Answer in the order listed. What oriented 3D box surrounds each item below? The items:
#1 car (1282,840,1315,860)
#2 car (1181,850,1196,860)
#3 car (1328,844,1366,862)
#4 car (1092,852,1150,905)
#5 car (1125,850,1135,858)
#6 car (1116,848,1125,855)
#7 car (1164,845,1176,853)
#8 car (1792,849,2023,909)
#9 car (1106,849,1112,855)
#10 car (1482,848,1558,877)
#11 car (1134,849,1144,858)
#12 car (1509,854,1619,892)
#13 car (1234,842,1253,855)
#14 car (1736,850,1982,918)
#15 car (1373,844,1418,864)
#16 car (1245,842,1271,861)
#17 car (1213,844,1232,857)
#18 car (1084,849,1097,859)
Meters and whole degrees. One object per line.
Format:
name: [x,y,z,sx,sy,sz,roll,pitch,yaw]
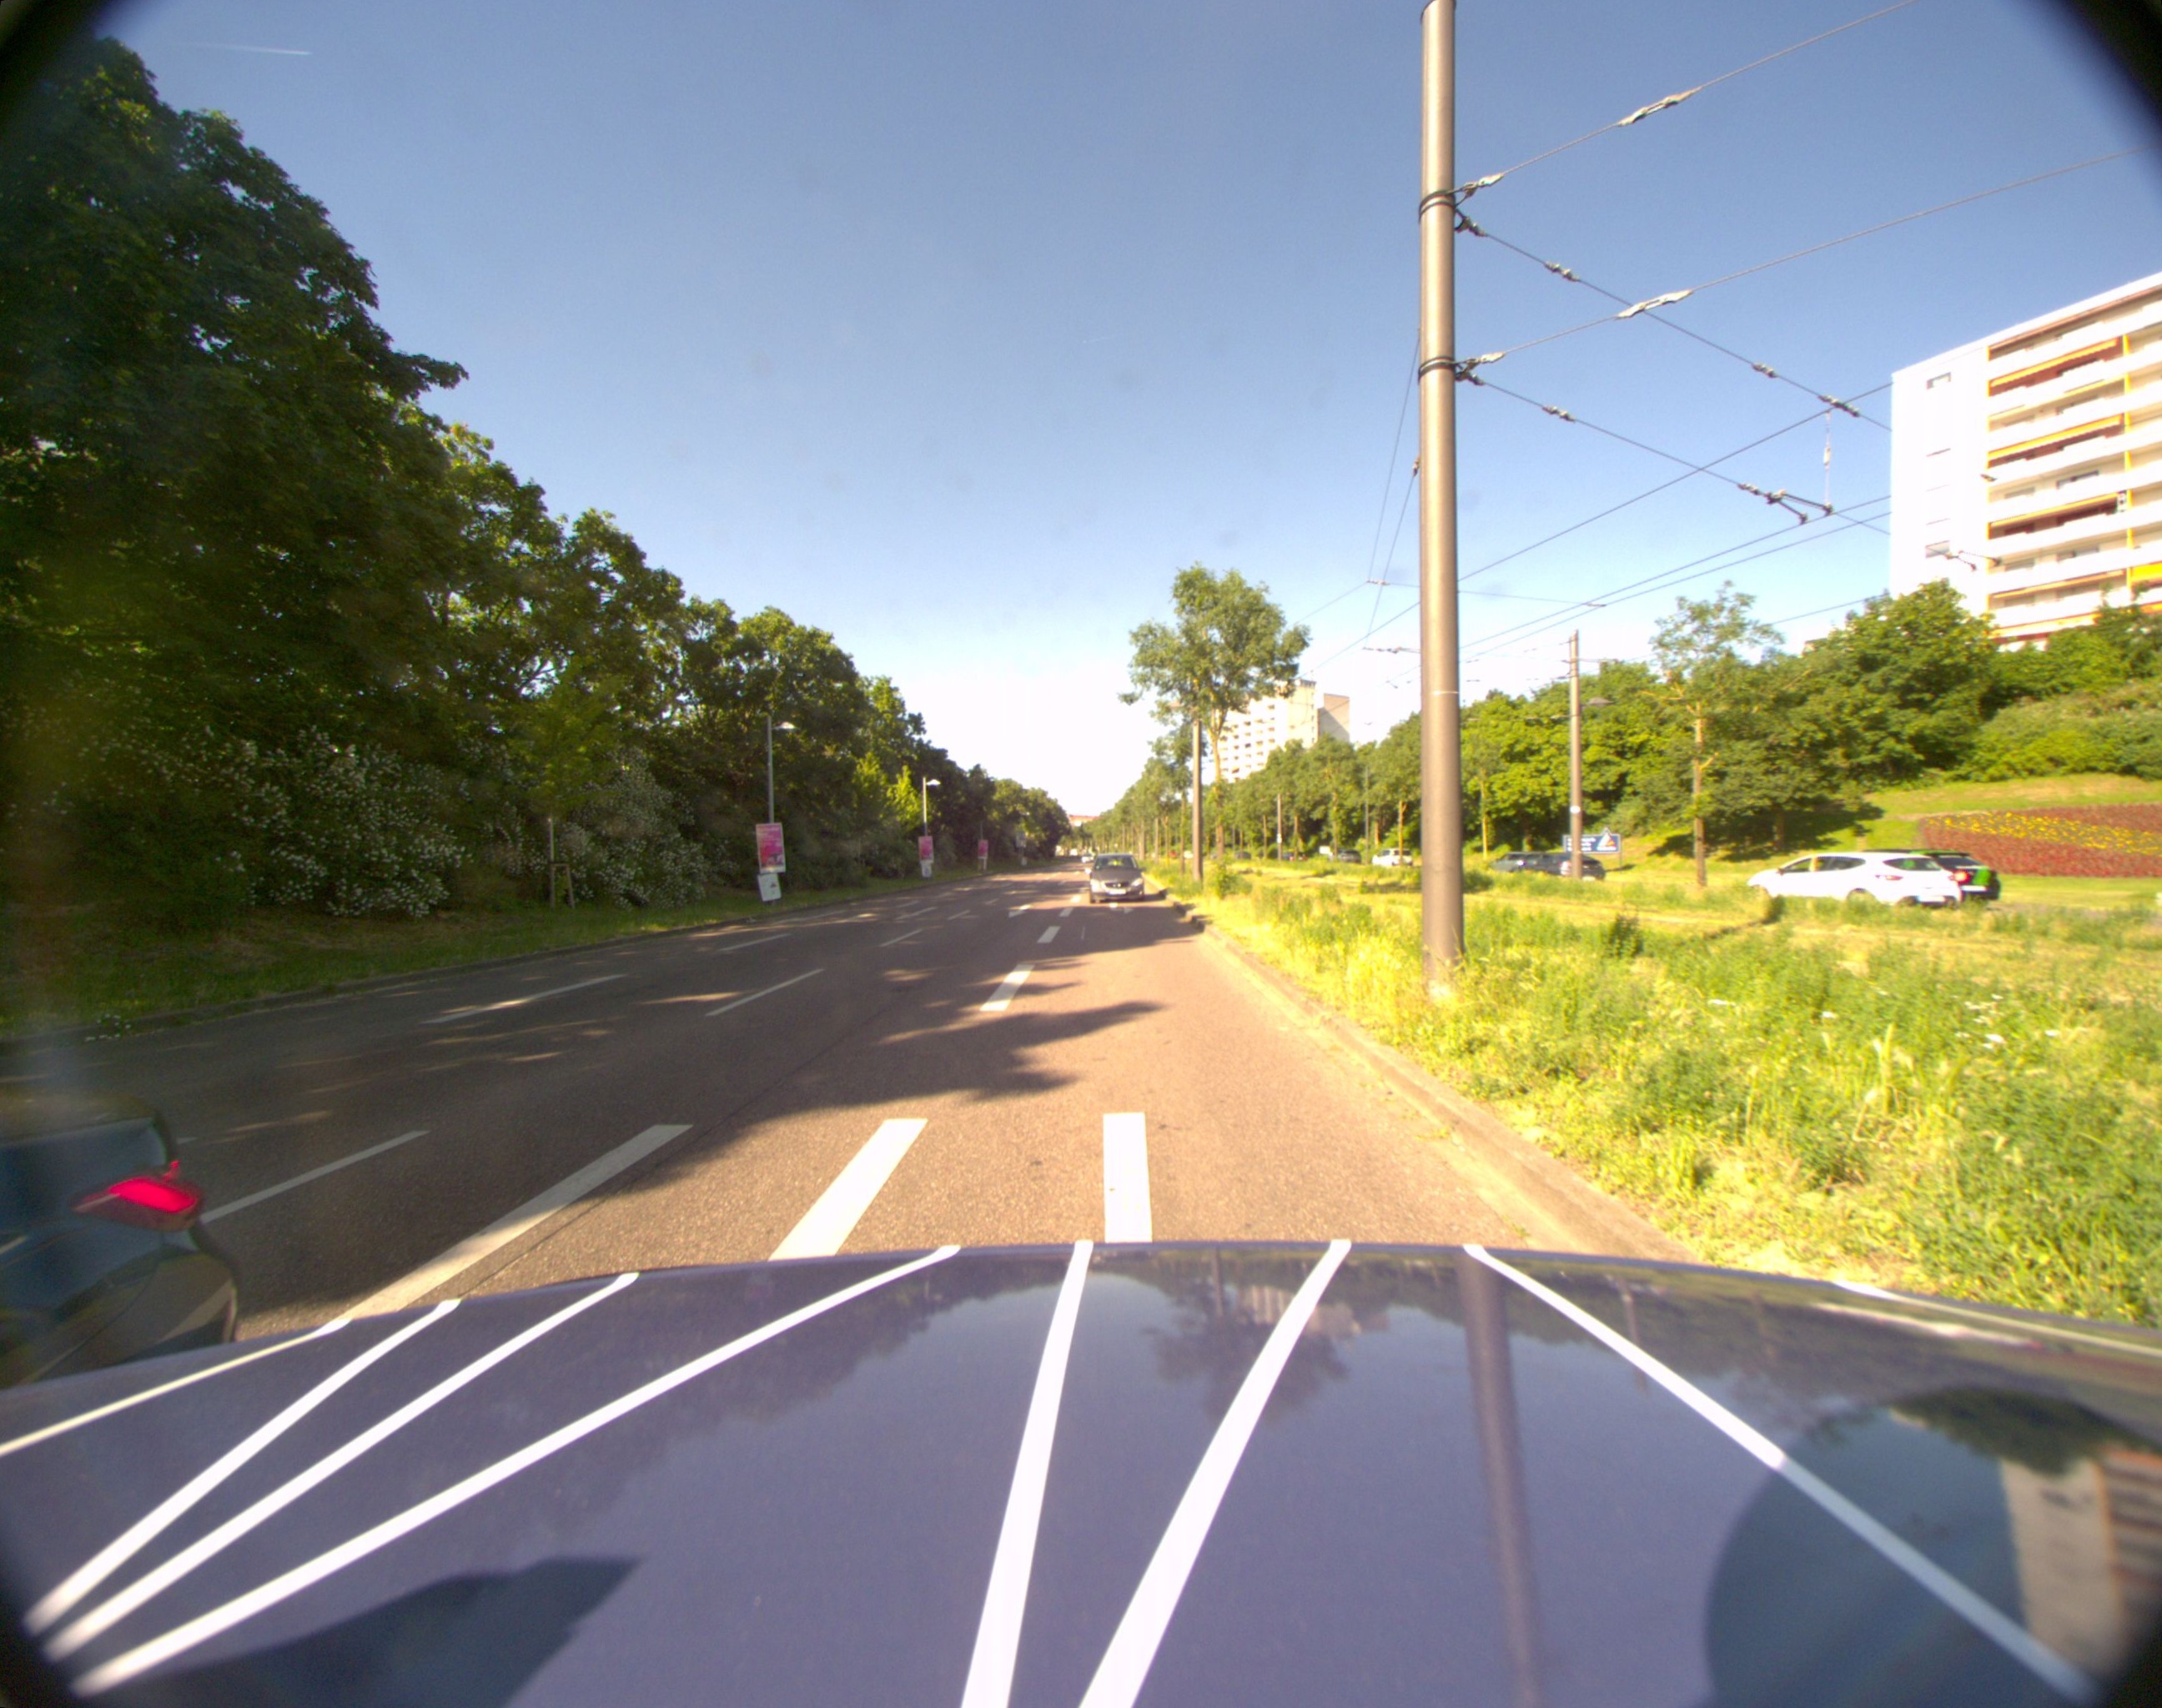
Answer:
car: [19.942,-0.373,69.858,1.882,1.755,4.000,-1,0,1]
car: [18.402,0.118,130.144,1.909,1.652,4.000,-1,0,0]
car: [23.084,-0.126,66.091,1.998,1.477,4.000,-1,0,1]
car: [1.280,0.754,25.532,1.759,1.612,3.880,-1,0,1]
car: [12.885,0.010,200.461,1.942,2.002,3.998,-1,0,-4]
car: [10.933,-0.647,211.938,1.999,2.002,3.998,-1,0,-3]
car: [18.567,-1.073,158.778,1.882,1.755,3.999,-1,0,-3]
car: [21.773,0.596,20.297,1.867,1.410,4.000,-1,0,1]
car: [9.087,-0.760,247.880,1.998,2.002,4.000,-1,0,1]
car: [22.211,0.383,38.635,1.740,1.368,4.001,-1,0,4]
car: [13.927,-0.133,183.420,1.942,2.002,3.999,-1,0,-2]
car: [19.098,0.701,30.269,1.825,1.353,4.230,-1,0,3]
car: [22.654,-0.792,106.073,1.882,1.755,4.000,-1,0,1]
car: [18.192,0.630,18.091,1.867,1.410,4.000,-1,0,3]
car: [23.033,-0.019,55.795,1.847,1.390,4.000,-1,0,2]
car: [19.623,-0.317,84.515,1.998,2.002,4.000,-1,0,1]
car: [19.137,-0.448,102.649,1.882,1.755,4.000,-1,0,1]
car: [1.457,-0.041,118.079,1.876,1.428,4.594,-1,0,2]
